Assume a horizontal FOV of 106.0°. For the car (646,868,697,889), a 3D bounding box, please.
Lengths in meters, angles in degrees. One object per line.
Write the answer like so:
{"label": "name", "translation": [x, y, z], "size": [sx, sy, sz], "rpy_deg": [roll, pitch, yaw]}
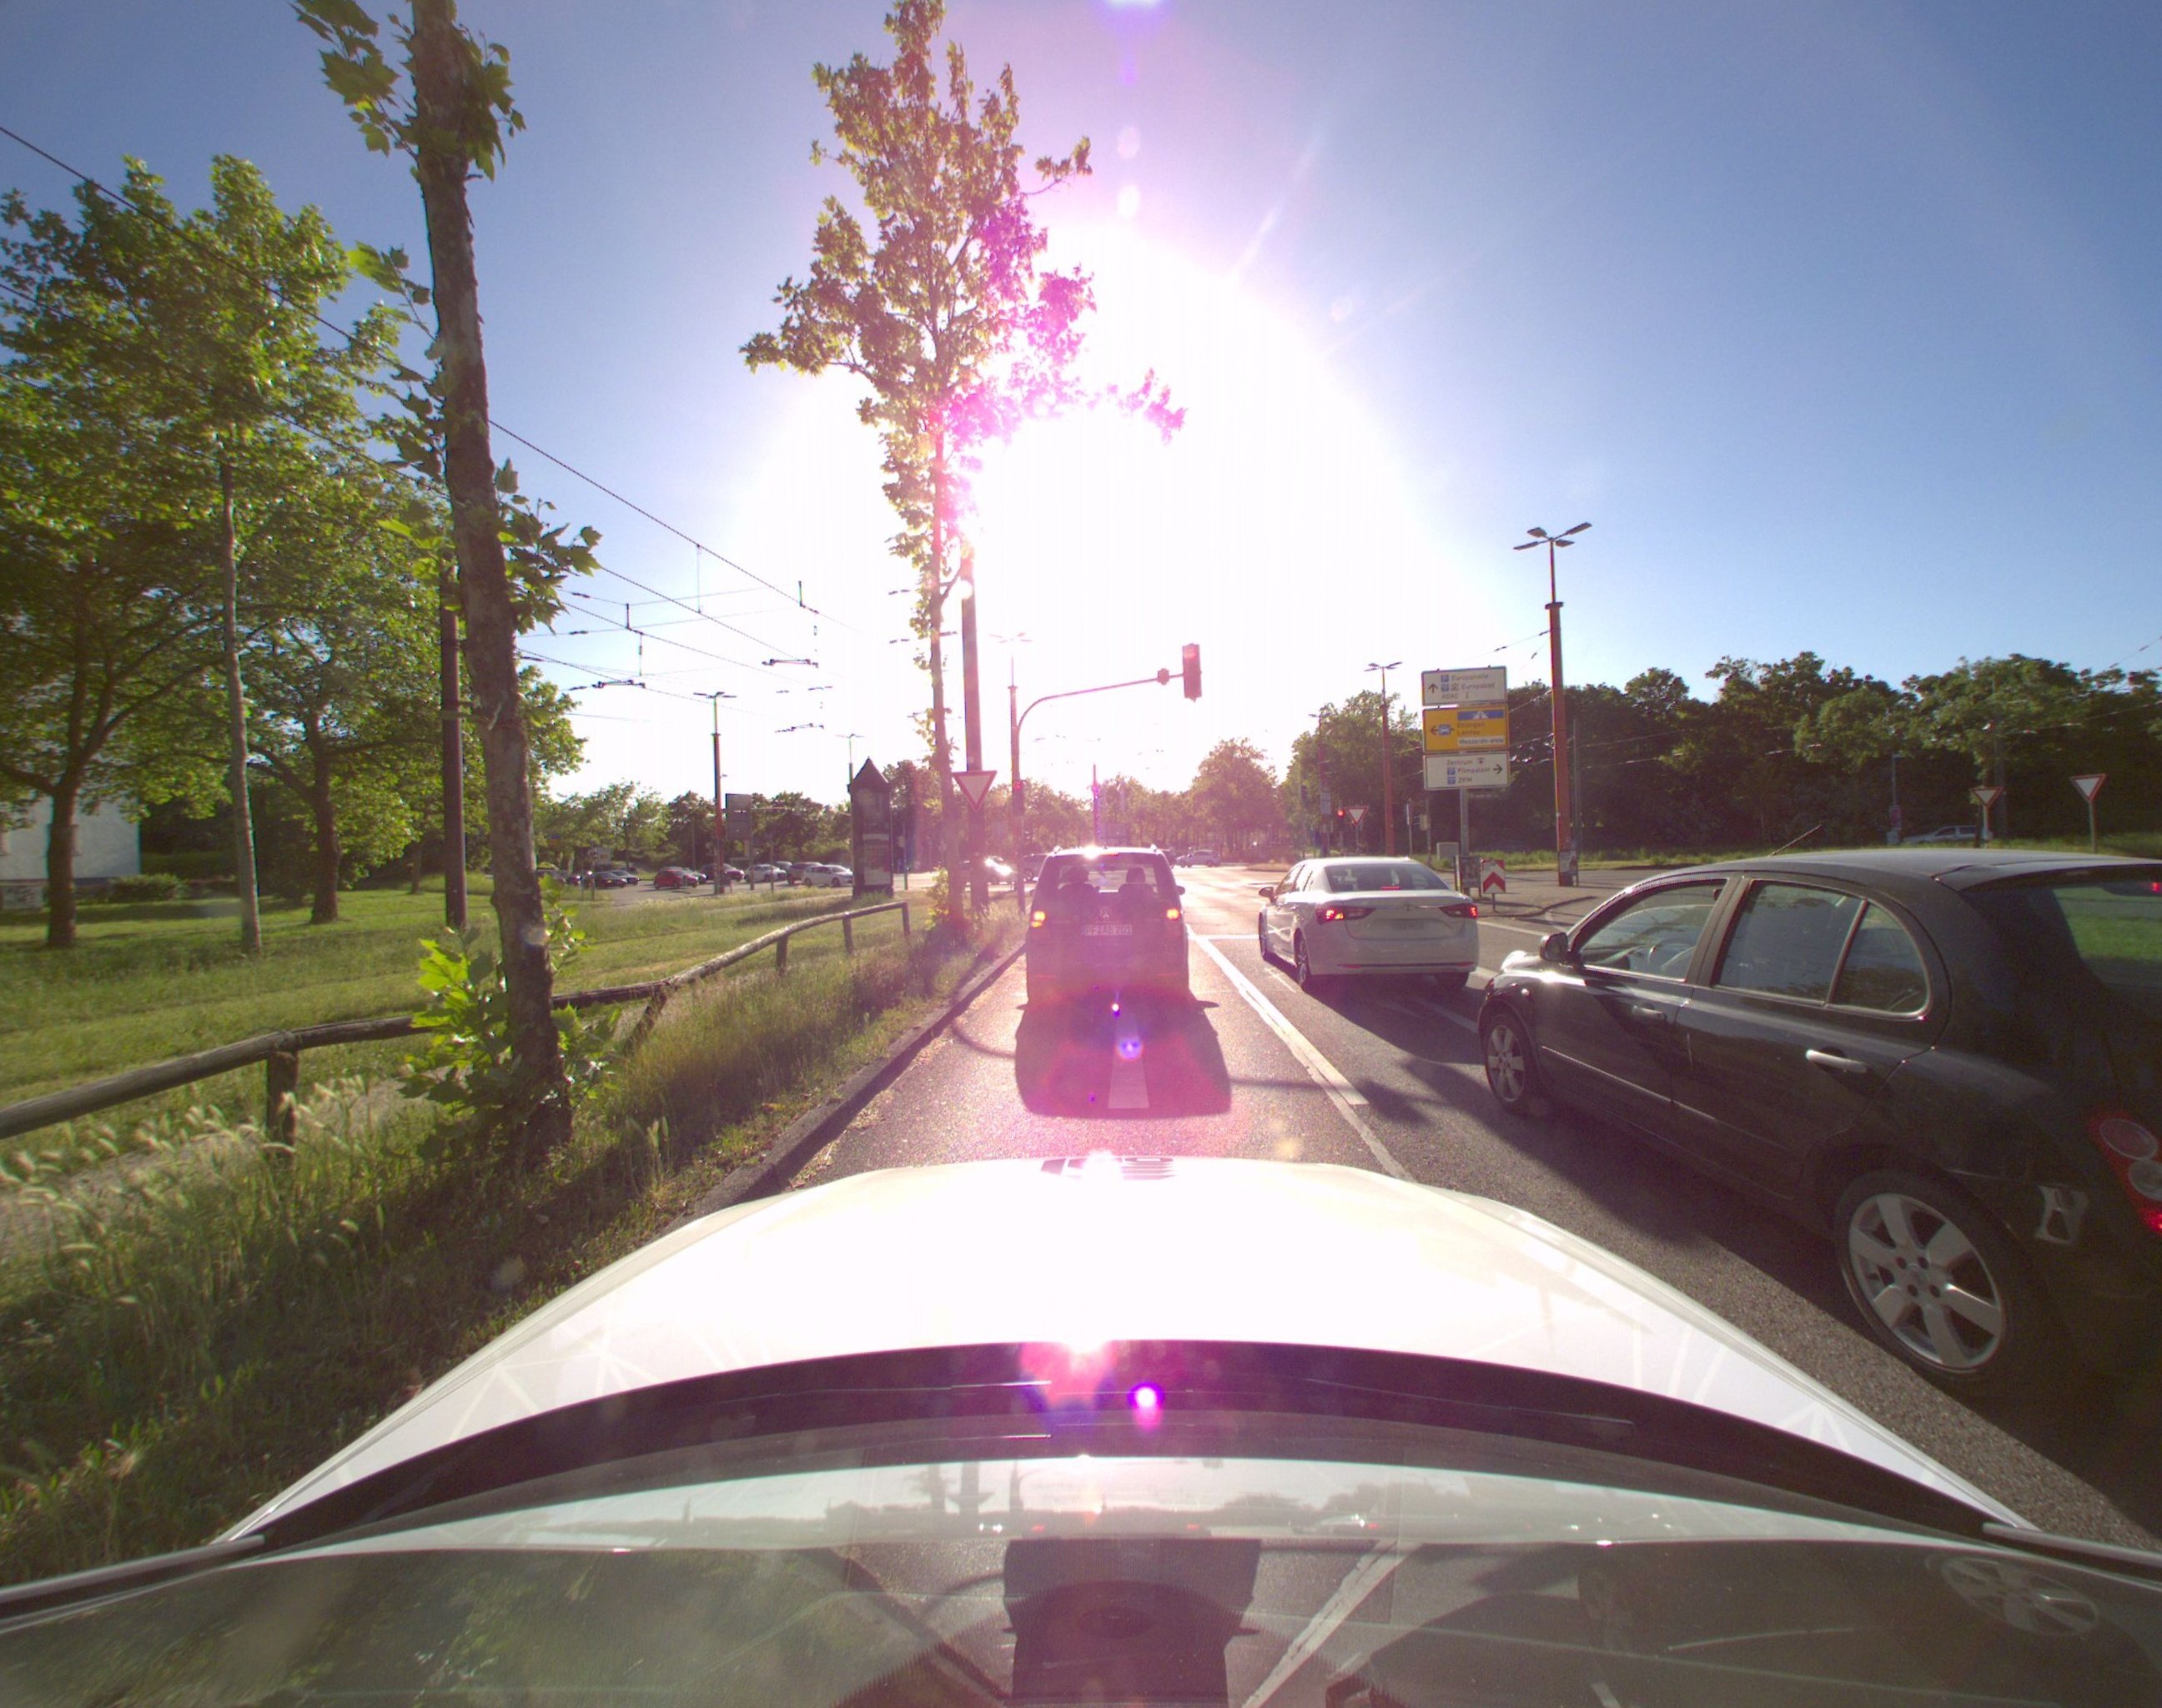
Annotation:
{"label": "car", "translation": [-32.188, 1.914, 63.970], "size": [4.145, 1.520, 1.667], "rpy_deg": [-1, 0, 32]}

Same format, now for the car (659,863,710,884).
{"label": "car", "translation": [-34.092, 1.680, 69.957], "size": [4.583, 1.647, 1.767], "rpy_deg": [-1, 0, 32]}

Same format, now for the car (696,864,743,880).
{"label": "car", "translation": [-32.016, 1.598, 72.100], "size": [4.102, 1.415, 1.553], "rpy_deg": [-1, 0, 28]}

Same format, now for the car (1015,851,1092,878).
{"label": "car", "translation": [-1.739, 0.658, 51.002], "size": [4.583, 1.647, 1.667], "rpy_deg": [-1, 0, 32]}

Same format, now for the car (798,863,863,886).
{"label": "car", "translation": [-17.160, 1.404, 55.740], "size": [4.577, 1.520, 1.667], "rpy_deg": [-1, 0, 32]}

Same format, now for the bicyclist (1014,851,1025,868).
{"label": "bicyclist", "translation": [-7.366, 0.662, 97.381], "size": [0.969, 1.904, 1.055], "rpy_deg": [-2, 0, 14]}

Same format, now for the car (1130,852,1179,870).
{"label": "car", "translation": [6.197, 0.587, 68.438], "size": [3.757, 1.510, 1.666], "rpy_deg": [-1, 0, 25]}

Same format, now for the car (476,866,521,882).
{"label": "car", "translation": [-60.540, 2.082, 84.611], "size": [4.585, 1.647, 1.767], "rpy_deg": [-1, 0, 26]}

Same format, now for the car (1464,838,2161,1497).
{"label": "car", "translation": [3.179, 0.693, 3.489], "size": [1.570, 1.440, 3.443], "rpy_deg": [0, -1, 2]}

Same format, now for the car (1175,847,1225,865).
{"label": "car", "translation": [10.274, 0.186, 70.479], "size": [3.877, 1.457, 1.667], "rpy_deg": [-1, 0, 28]}

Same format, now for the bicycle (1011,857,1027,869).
{"label": "bicycle", "translation": [-7.367, 1.023, 97.339], "size": [0.969, 1.388, 2.991], "rpy_deg": [-2, 0, 15]}

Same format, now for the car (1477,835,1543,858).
{"label": "car", "translation": [30.863, -0.529, 58.603], "size": [4.095, 1.510, 1.667], "rpy_deg": [-1, 0, 30]}

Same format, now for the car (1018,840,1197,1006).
{"label": "car", "translation": [0.365, 0.687, 10.083], "size": [1.731, 1.602, 4.329], "rpy_deg": [0, -1, 3]}

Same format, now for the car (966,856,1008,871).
{"label": "car", "translation": [-9.391, 0.924, 81.670], "size": [3.877, 1.457, 1.667], "rpy_deg": [-1, 0, 28]}

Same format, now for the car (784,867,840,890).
{"label": "car", "translation": [-20.242, 1.829, 61.305], "size": [4.285, 1.692, 1.667], "rpy_deg": [-1, 0, 34]}

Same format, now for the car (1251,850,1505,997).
{"label": "car", "translation": [3.372, 0.707, 10.188], "size": [1.792, 1.440, 4.329], "rpy_deg": [0, 0, 3]}

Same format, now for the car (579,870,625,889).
{"label": "car", "translation": [-41.041, 2.152, 69.753], "size": [4.145, 1.520, 1.667], "rpy_deg": [-1, 0, 32]}

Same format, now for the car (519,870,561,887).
{"label": "car", "translation": [-49.381, 2.219, 74.322], "size": [4.145, 1.520, 1.667], "rpy_deg": [-1, 0, 32]}

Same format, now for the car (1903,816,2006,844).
{"label": "car", "translation": [50.934, -1.369, 47.590], "size": [3.755, 1.510, 1.667], "rpy_deg": [-1, 0, 30]}

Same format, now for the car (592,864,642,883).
{"label": "car", "translation": [-42.716, 1.790, 74.970], "size": [4.585, 1.647, 1.767], "rpy_deg": [-1, 0, 26]}

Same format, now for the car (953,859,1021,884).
{"label": "car", "translation": [-5.677, 1.039, 48.948], "size": [3.793, 1.441, 1.667], "rpy_deg": [-1, 0, 29]}

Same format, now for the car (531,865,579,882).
{"label": "car", "translation": [-51.314, 1.898, 79.473], "size": [4.585, 1.647, 1.767], "rpy_deg": [-1, 0, 26]}

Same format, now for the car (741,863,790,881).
{"label": "car", "translation": [-26.833, 1.526, 69.187], "size": [4.102, 1.415, 1.553], "rpy_deg": [-1, 0, 28]}
